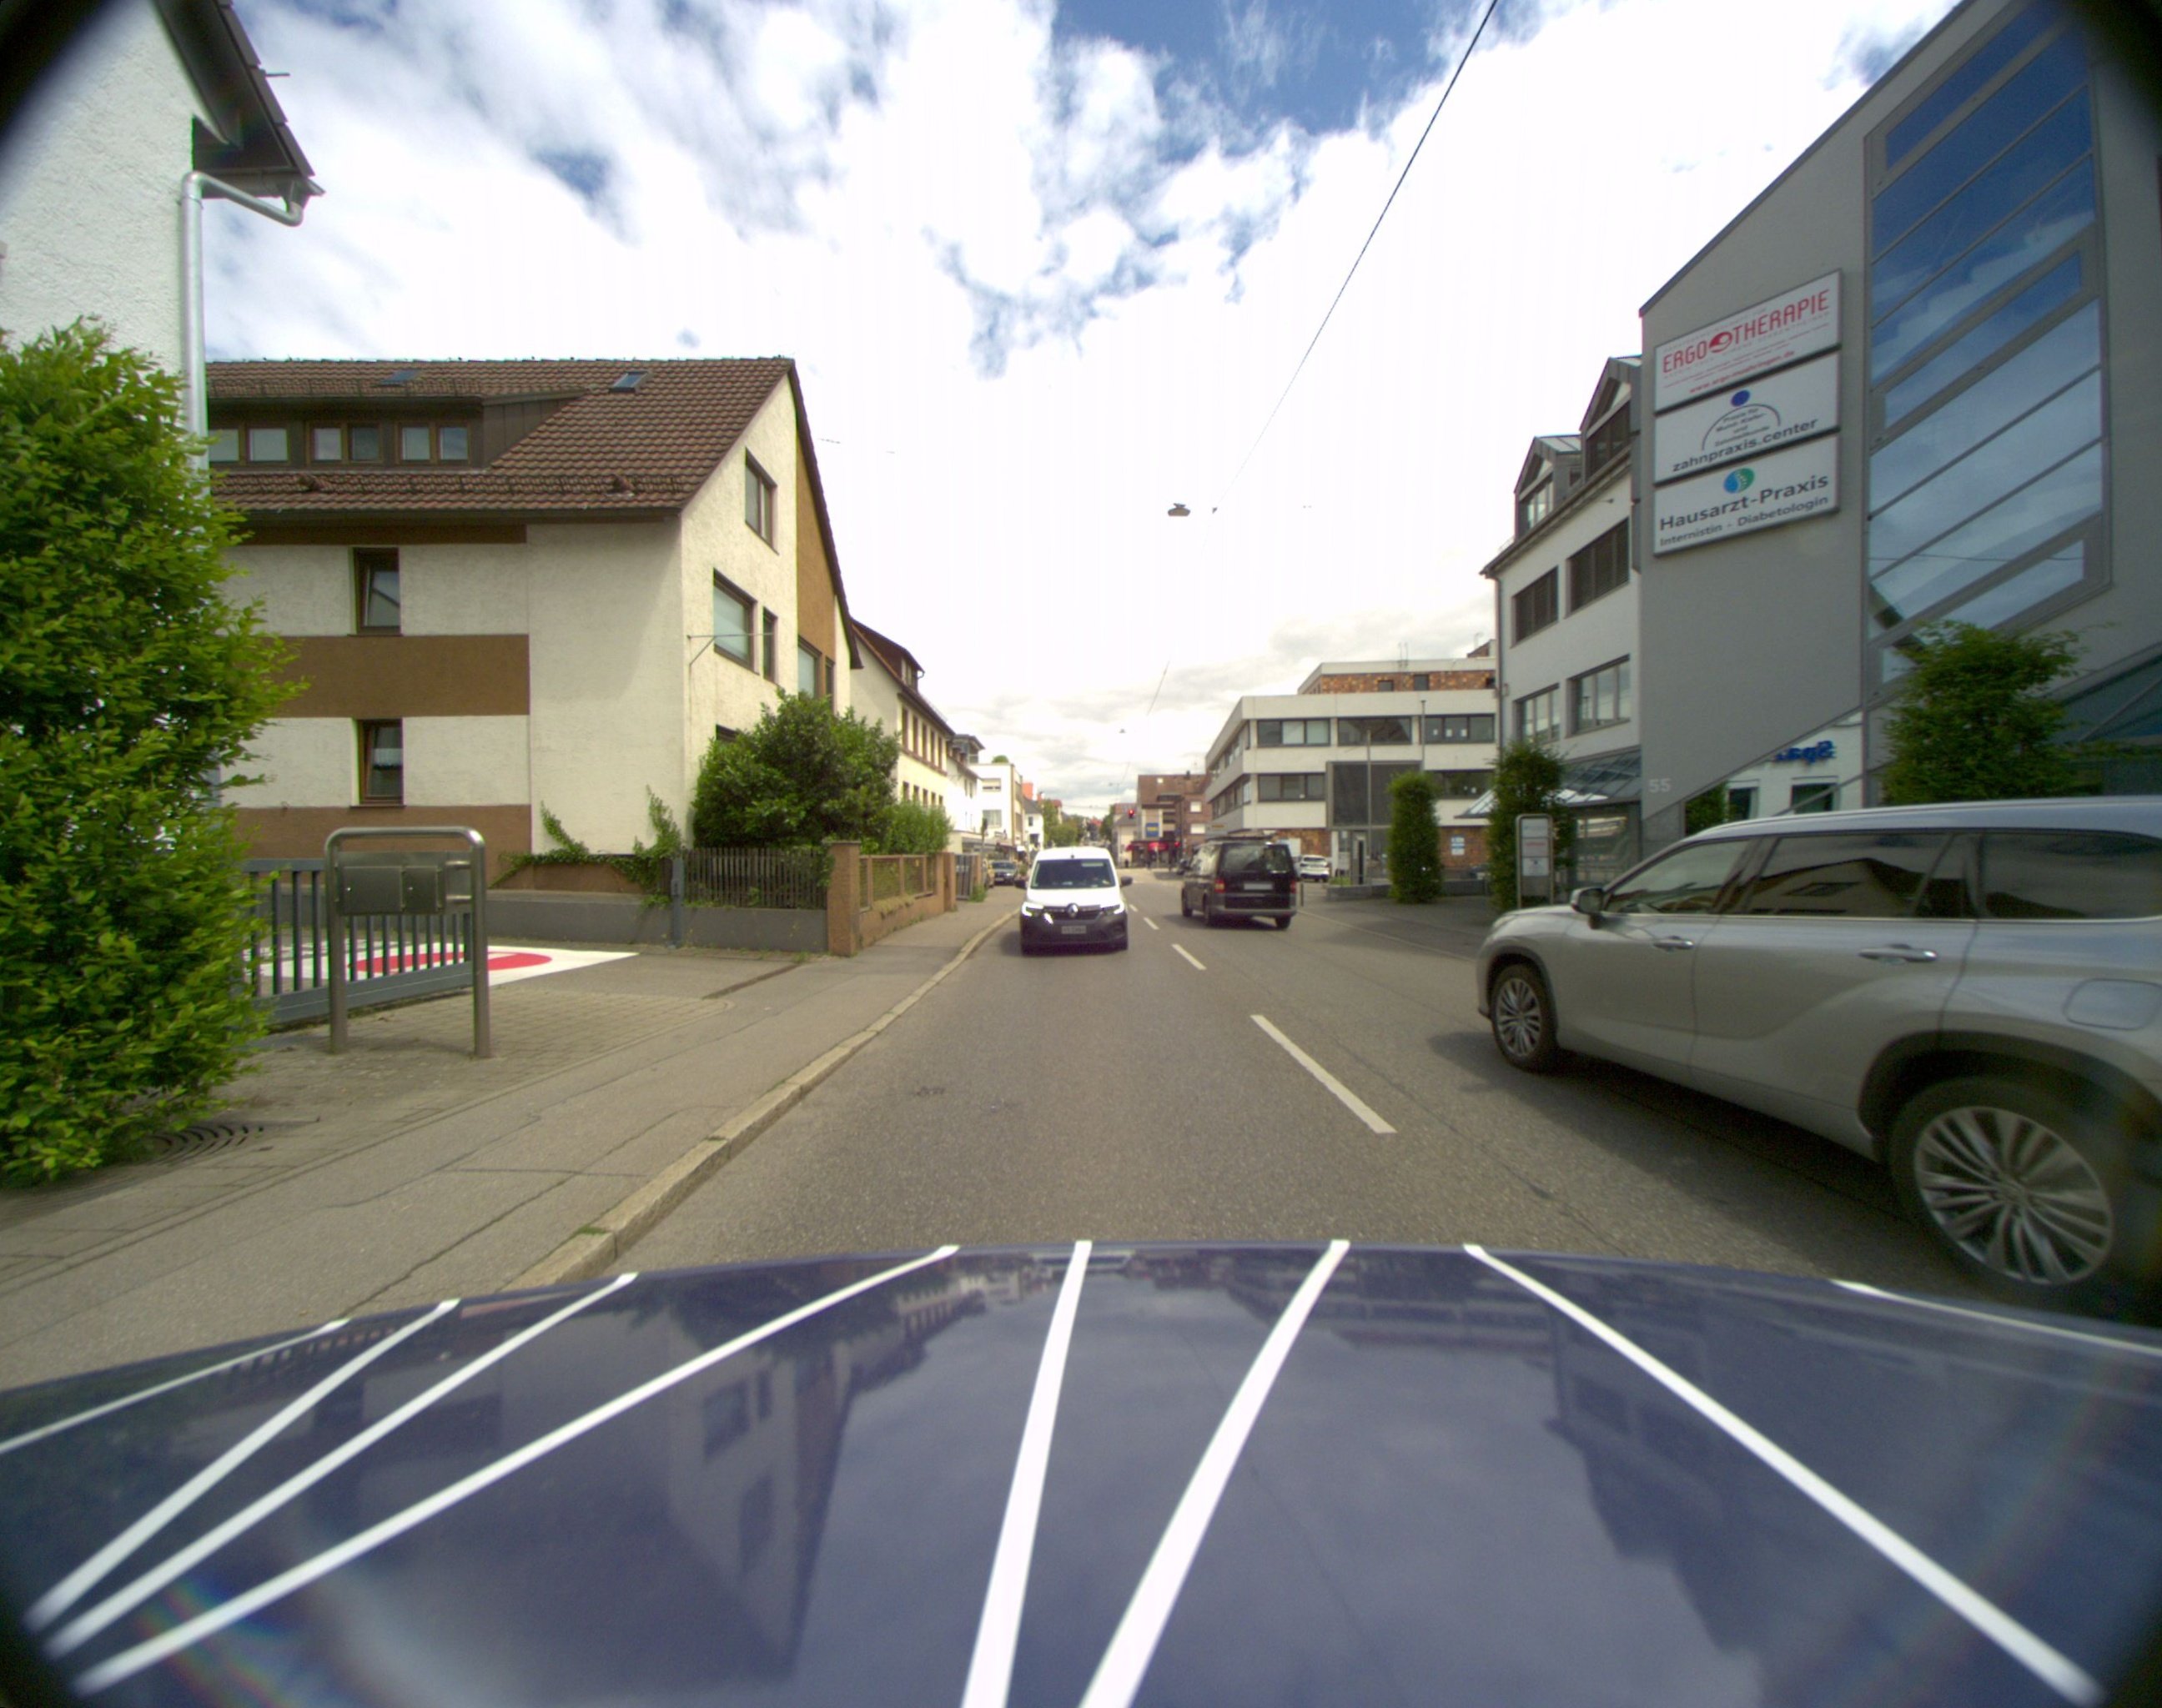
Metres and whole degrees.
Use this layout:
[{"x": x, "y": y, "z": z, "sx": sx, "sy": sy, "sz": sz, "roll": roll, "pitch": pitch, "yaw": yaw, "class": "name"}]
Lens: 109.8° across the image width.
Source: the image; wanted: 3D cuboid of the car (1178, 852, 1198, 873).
[{"x": 9.576, "y": 0.718, "z": 68.116, "sx": 1.701, "sy": 1.766, "sz": 4.463, "roll": -1, "pitch": 1, "yaw": 8, "class": "car"}]

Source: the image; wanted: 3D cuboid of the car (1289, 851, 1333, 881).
[{"x": 13.917, "y": 0.708, "z": 46.189, "sx": 1.896, "sy": 1.687, "sz": 3.803, "roll": 1, "pitch": 1, "yaw": 8, "class": "car"}]

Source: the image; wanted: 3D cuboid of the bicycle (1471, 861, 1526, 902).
[{"x": 12.578, "y": 0.811, "z": 22.935, "sx": 0.644, "sy": 1.135, "sz": 1.686, "roll": -2, "pitch": 1, "yaw": -4, "class": "bicycle"}]

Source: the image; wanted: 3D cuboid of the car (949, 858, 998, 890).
[{"x": -5.019, "y": 0.897, "z": 35.973, "sx": 1.926, "sy": 1.404, "sz": 3.999, "roll": 0, "pitch": 0, "yaw": -2, "class": "car"}]

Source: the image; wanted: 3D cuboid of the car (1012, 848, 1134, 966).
[{"x": -0.050, "y": 0.818, "z": 14.418, "sx": 1.870, "sy": 1.805, "sz": 5.007, "roll": -1, "pitch": 1, "yaw": 2, "class": "car"}]

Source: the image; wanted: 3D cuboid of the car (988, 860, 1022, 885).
[{"x": -4.390, "y": 1.043, "z": 44.355, "sx": 1.656, "sy": 1.413, "sz": 3.999, "roll": 0, "pitch": 0, "yaw": -2, "class": "car"}]

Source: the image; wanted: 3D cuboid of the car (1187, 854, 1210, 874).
[{"x": 9.665, "y": 0.814, "z": 62.768, "sx": 1.808, "sy": 1.521, "sz": 4.002, "roll": -1, "pitch": 1, "yaw": 8, "class": "car"}]

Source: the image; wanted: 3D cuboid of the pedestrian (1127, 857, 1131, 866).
[{"x": 7.170, "y": 1.118, "z": 113.662, "sx": 0.669, "sy": 1.423, "sz": 0.778, "roll": 0, "pitch": 0, "yaw": 5, "class": "pedestrian"}]

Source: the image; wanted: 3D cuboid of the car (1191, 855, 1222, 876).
[{"x": 9.254, "y": 0.846, "z": 56.165, "sx": 1.839, "sy": 1.418, "sz": 4.219, "roll": -1, "pitch": 1, "yaw": 4, "class": "car"}]

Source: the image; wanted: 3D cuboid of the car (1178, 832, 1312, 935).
[{"x": 3.732, "y": 0.615, "z": 18.280, "sx": 2.116, "sy": 2.139, "sz": 4.882, "roll": 0, "pitch": 0, "yaw": -1, "class": "car"}]

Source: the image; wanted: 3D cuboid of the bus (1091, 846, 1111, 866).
[{"x": 3.400, "y": 0.306, "z": 132.511, "sx": 3.133, "sy": 3.239, "sz": 9.749, "roll": -2, "pitch": 1, "yaw": -1, "class": "bus"}]

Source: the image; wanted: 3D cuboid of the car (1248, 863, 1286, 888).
[{"x": 11.464, "y": 1.306, "z": 47.098, "sx": 1.824, "sy": 1.321, "sz": 4.238, "roll": -1, "pitch": 1, "yaw": 8, "class": "car"}]

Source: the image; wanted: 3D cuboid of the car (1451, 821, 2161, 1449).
[{"x": 3.984, "y": 0.795, "z": 3.660, "sx": 1.991, "sy": 1.727, "sz": 4.795, "roll": 2, "pitch": 0, "yaw": 0, "class": "car"}]

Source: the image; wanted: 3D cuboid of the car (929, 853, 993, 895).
[{"x": -4.848, "y": 0.761, "z": 31.161, "sx": 1.999, "sy": 1.609, "sz": 4.100, "roll": 0, "pitch": 0, "yaw": 0, "class": "car"}]

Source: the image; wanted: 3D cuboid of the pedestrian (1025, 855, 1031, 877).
[{"x": -5.031, "y": 1.125, "z": 71.850, "sx": 0.476, "sy": 2.009, "sz": 0.918, "roll": 0, "pitch": 0, "yaw": 2, "class": "pedestrian"}]
